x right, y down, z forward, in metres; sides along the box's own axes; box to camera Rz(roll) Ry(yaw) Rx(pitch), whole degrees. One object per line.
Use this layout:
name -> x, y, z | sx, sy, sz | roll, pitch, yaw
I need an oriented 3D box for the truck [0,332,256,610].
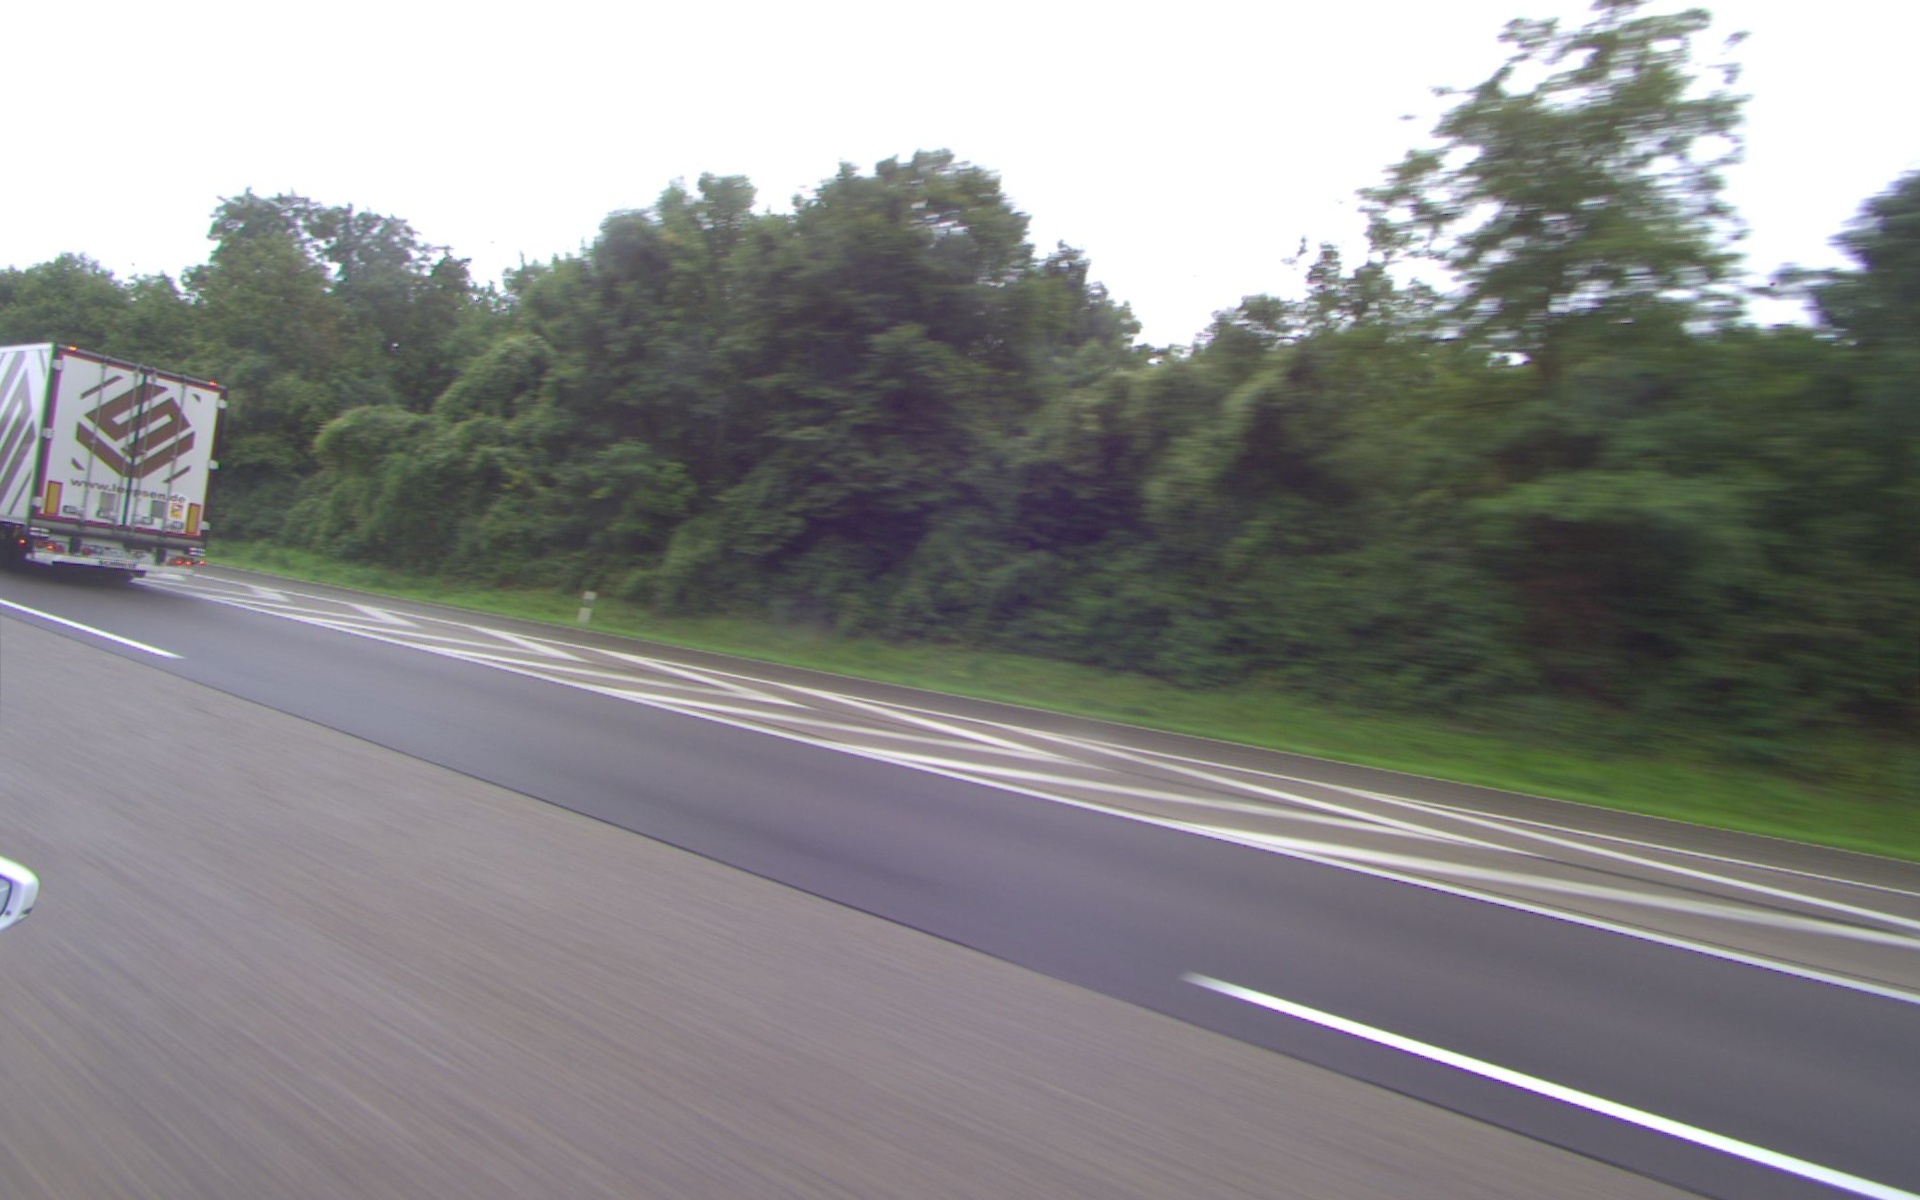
truck -> -20.472, -2.708, 21.752 | 12.984, 4.384, 3.608 | 6, -1, 33
